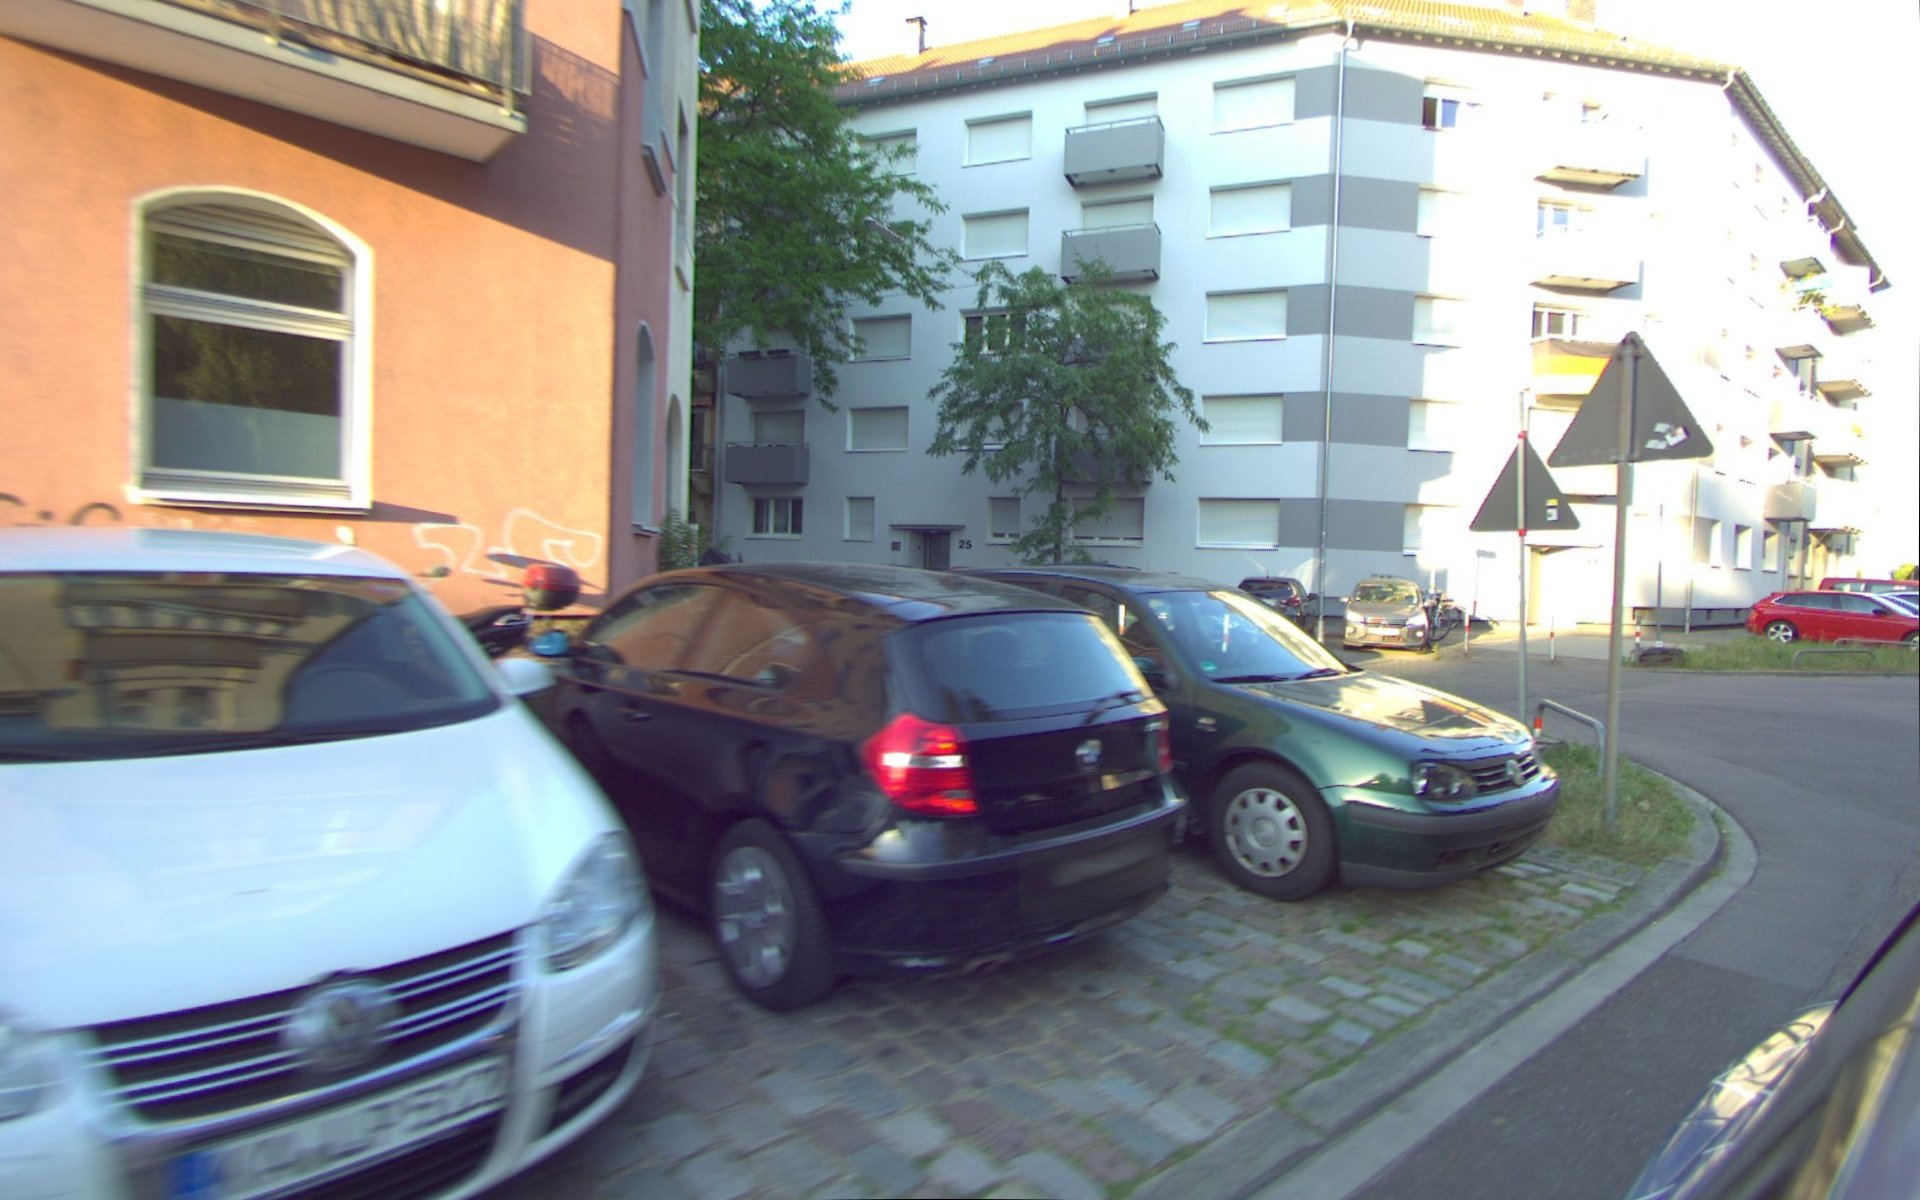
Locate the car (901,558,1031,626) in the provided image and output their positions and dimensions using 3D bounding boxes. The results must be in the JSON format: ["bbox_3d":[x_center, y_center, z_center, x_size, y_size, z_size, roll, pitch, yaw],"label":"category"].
[{"bbox_3d":[0.250,-0.248,25.813,1.977,1.535,3.971,2,2,22],"label":"car"}]

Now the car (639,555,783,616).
[{"bbox_3d":[-6.934,-0.427,28.623,1.978,1.549,3.969,2,2,23],"label":"car"}]

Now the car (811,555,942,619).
[{"bbox_3d":[-2.155,-0.392,27.311,1.977,1.549,3.971,2,2,22],"label":"car"}]

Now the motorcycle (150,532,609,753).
[{"bbox_3d":[-3.818,0.228,6.866,2.606,1.250,0.744,0,2,-40],"label":"motorcycle"}]

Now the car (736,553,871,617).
[{"bbox_3d":[-4.259,-0.440,28.120,1.977,1.604,3.971,2,2,22],"label":"car"}]

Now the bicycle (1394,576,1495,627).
[{"bbox_3d":[12.829,0.043,26.811,2.403,1.289,0.699,1,1,-10],"label":"bicycle"}]

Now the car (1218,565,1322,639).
[{"bbox_3d":[7.245,-0.013,23.412,1.827,1.504,3.968,2,2,24],"label":"car"}]

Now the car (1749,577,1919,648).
[{"bbox_3d":[22.257,0.279,24.764,1.888,1.560,4.312,0,2,-38],"label":"car"}]

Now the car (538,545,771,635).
[{"bbox_3d":[-5.894,-0.237,19.623,3.951,1.524,1.960,2,2,20],"label":"car"}]

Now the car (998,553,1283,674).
[{"bbox_3d":[2.759,0.125,15.581,3.963,1.592,1.812,2,2,28],"label":"car"}]

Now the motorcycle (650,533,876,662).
[{"bbox_3d":[-2.355,-0.034,12.315,2.600,1.452,0.745,1,1,-5],"label":"motorcycle"}]

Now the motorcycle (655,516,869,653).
[{"bbox_3d":[-2.214,-0.176,11.552,2.305,1.452,0.745,1,1,-5],"label":"motorcycle"}]

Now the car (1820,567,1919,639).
[{"bbox_3d":[28.373,0.100,29.511,1.964,2.024,4.686,0,2,-39],"label":"car"}]

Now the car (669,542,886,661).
[{"bbox_3d":[-2.379,0.009,13.423,2.721,1.474,0.847,1,1,-6],"label":"car"}]

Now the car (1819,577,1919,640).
[{"bbox_3d":[26.212,0.250,27.638,1.754,1.649,3.994,0,2,-42],"label":"car"}]

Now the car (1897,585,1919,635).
[{"bbox_3d":[34.493,0.422,34.066,1.963,1.704,4.000,0,2,-36],"label":"car"}]

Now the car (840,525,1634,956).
[{"bbox_3d":[1.260,0.436,5.894,1.823,1.604,4.108,0,2,-43],"label":"car"}]

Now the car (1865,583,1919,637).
[{"bbox_3d":[32.246,0.384,32.833,1.964,1.704,3.998,0,2,-38],"label":"car"}]

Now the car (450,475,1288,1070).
[{"bbox_3d":[-0.788,0.366,4.786,1.965,1.549,3.994,0,2,-41],"label":"car"}]

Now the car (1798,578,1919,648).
[{"bbox_3d":[24.385,0.345,26.087,1.966,1.682,3.994,0,2,-42],"label":"car"}]

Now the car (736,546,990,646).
[{"bbox_3d":[-1.671,-0.123,17.631,3.953,1.524,1.957,2,2,22],"label":"car"}]

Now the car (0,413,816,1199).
[{"bbox_3d":[-2.394,0.472,3.205,1.965,1.638,3.994,0,2,-41],"label":"car"}]

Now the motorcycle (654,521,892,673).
[{"bbox_3d":[-1.888,-0.035,10.474,2.305,1.452,0.840,1,1,-5],"label":"motorcycle"}]

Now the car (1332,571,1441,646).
[{"bbox_3d":[9.335,0.116,22.186,1.978,1.437,3.969,2,2,23],"label":"car"}]

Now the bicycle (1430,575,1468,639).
[{"bbox_3d":[11.320,0.130,23.474,0.510,1.400,2.488,1,1,20],"label":"bicycle"}]

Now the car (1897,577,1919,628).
[{"bbox_3d":[39.179,0.173,38.827,1.963,1.992,4.431,0,2,-37],"label":"car"}]

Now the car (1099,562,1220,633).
[{"bbox_3d":[4.836,-0.113,24.097,1.979,1.482,3.968,2,2,24],"label":"car"}]
